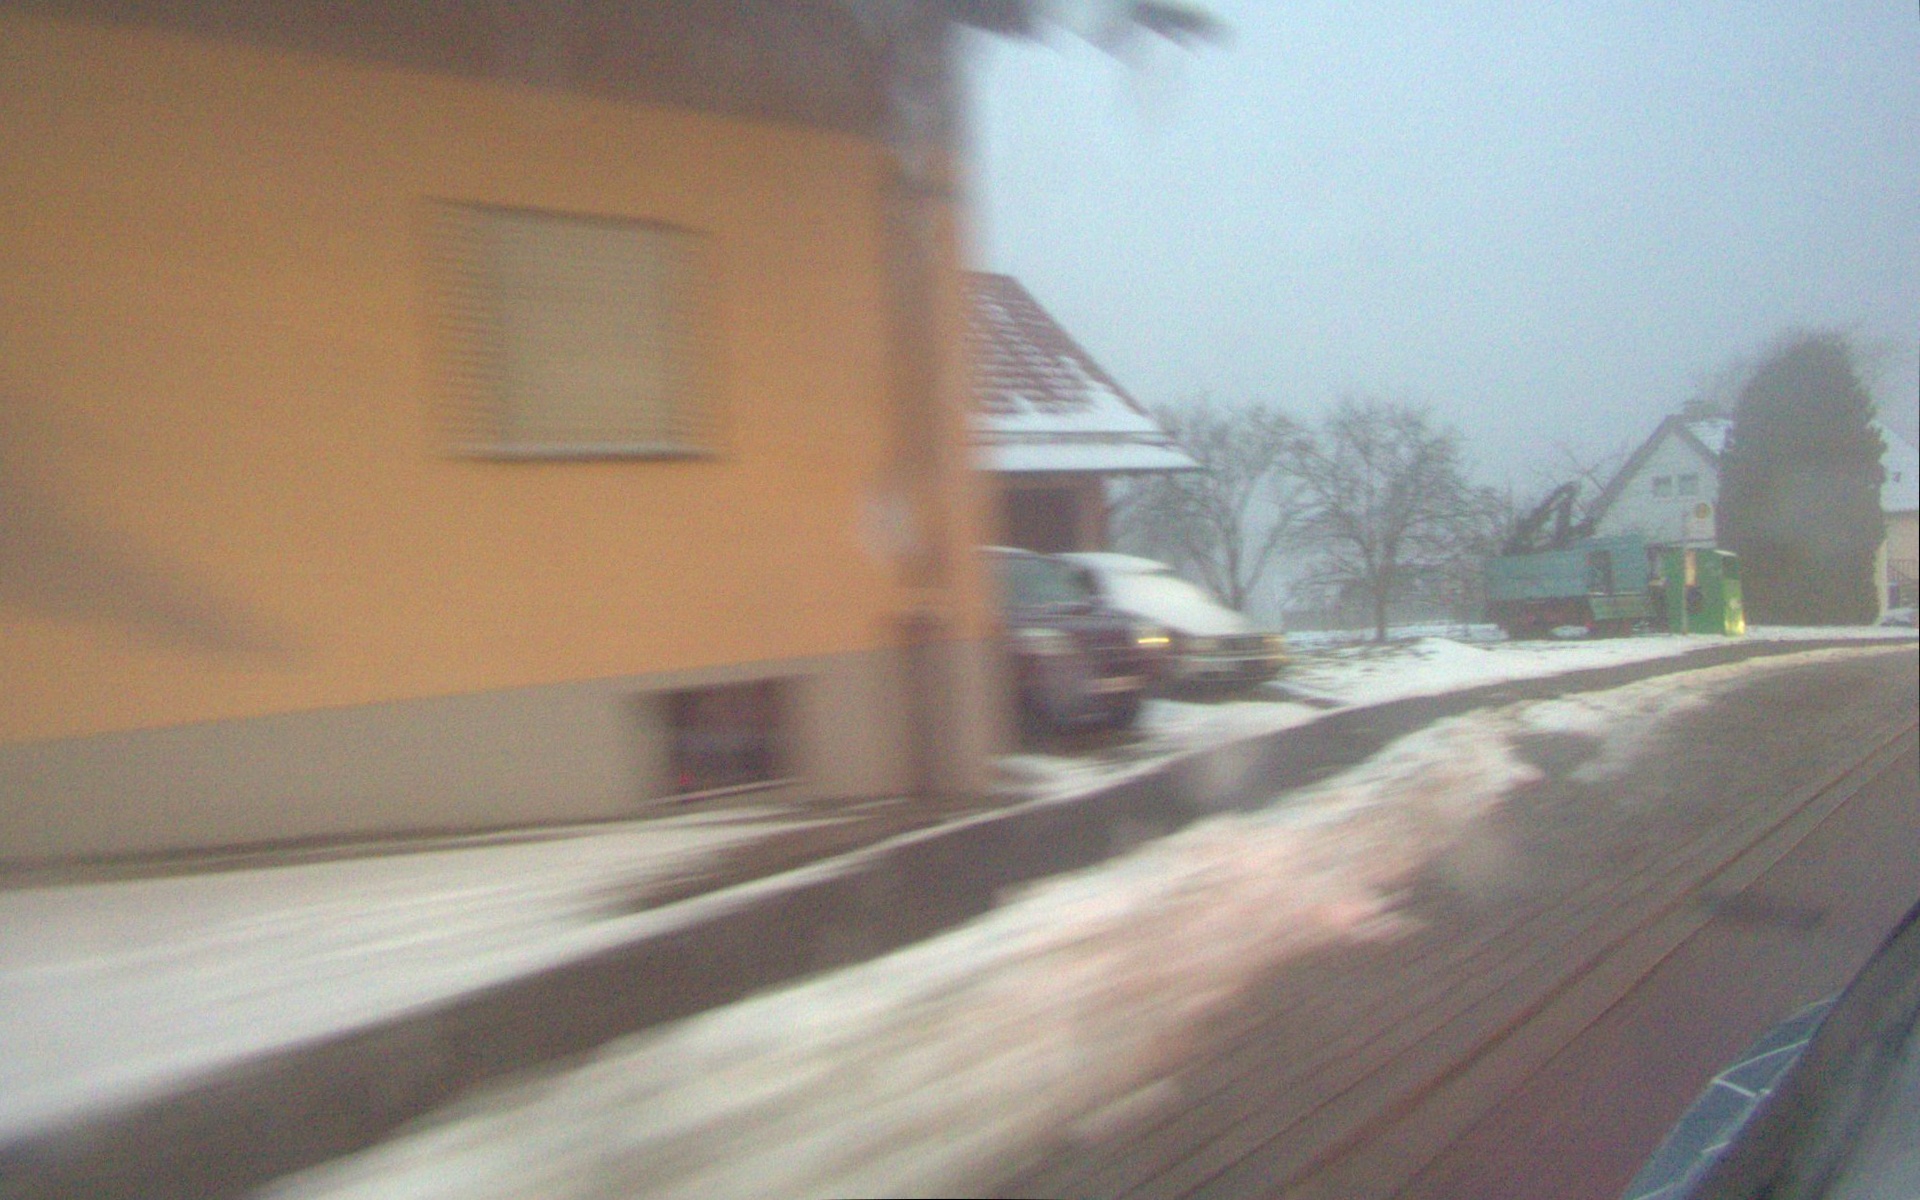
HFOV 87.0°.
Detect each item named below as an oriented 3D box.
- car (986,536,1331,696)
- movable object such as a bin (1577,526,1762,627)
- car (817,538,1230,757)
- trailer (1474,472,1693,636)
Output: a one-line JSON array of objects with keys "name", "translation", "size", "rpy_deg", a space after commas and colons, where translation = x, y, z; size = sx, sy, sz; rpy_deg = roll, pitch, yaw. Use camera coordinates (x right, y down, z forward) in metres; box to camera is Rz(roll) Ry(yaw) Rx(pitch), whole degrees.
[{"name": "car", "translation": [2.179, 0.053, 12.437], "size": [1.959, 1.578, 4.266], "rpy_deg": [1, 3, -26]}, {"name": "movable object such as a bin", "translation": [19.148, -0.685, 27.309], "size": [4.425, 2.499, 2.398], "rpy_deg": [-2, 2, -29]}, {"name": "car", "translation": [0.334, 0.223, 9.649], "size": [1.907, 1.578, 4.178], "rpy_deg": [-1, 4, -30]}, {"name": "trailer", "translation": [15.339, -1.122, 24.850], "size": [4.967, 3.604, 2.884], "rpy_deg": [-2, 2, -36]}]
